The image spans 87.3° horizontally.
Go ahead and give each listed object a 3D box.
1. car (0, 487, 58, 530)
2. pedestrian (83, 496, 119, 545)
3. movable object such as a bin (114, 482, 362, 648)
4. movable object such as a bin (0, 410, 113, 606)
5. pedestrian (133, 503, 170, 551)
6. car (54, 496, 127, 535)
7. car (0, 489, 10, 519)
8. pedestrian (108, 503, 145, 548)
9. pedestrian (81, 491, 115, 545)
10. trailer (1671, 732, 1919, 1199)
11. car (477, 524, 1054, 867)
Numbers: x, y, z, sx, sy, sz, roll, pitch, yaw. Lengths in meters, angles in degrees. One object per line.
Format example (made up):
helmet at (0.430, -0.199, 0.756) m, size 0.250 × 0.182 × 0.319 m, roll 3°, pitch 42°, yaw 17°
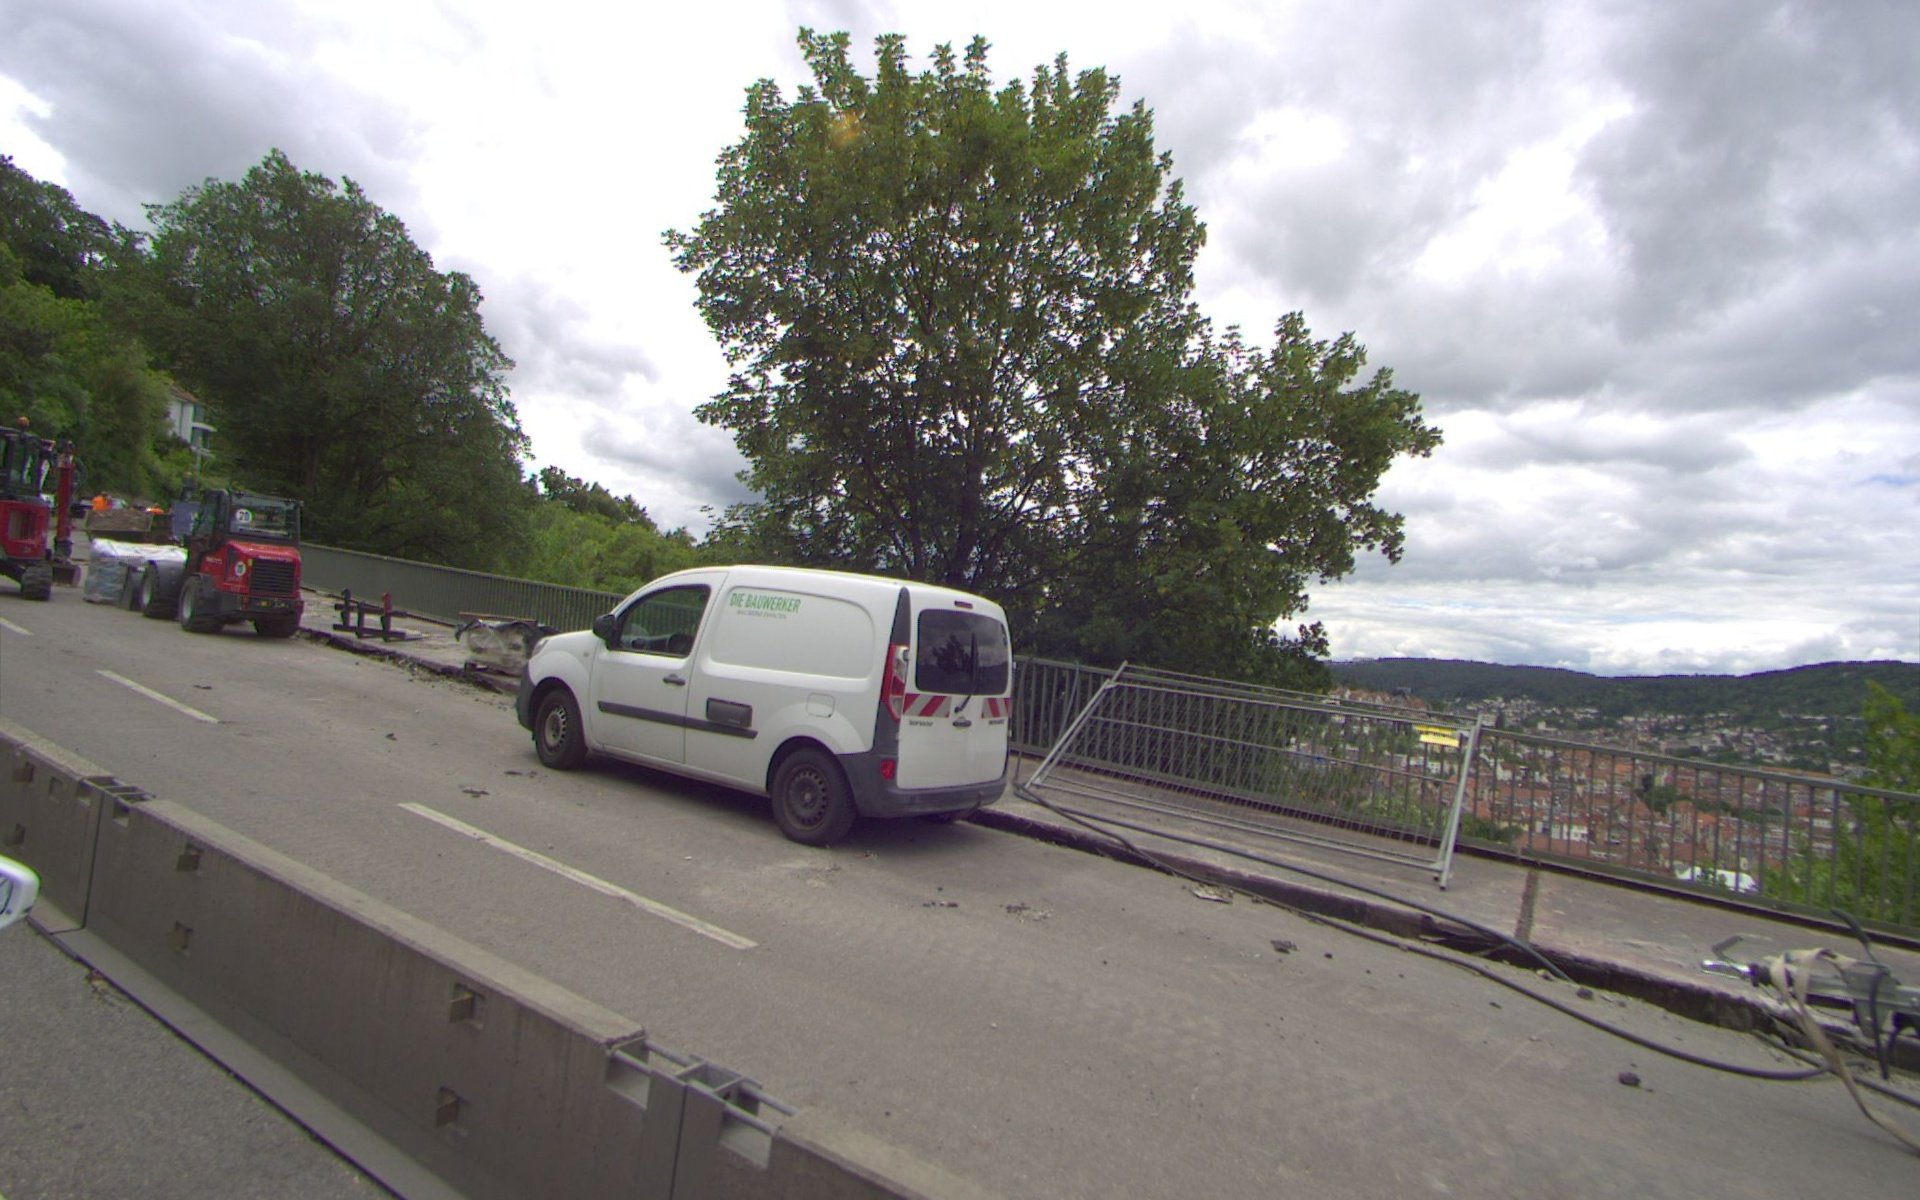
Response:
car at (-41.990, -4.087, 44.585) m, size 1.793 × 1.683 × 3.975 m, roll 7°, pitch 0°, yaw -25°
pedestrian at (-33.125, -3.058, 38.824) m, size 0.872 × 1.752 × 0.869 m, roll 7°, pitch 0°, yaw -39°
movable object such as a bin at (-10.856, -0.567, 15.027) m, size 4.101 × 1.966 × 1.702 m, roll 7°, pitch -1°, yaw 37°
movable object such as a bin at (-15.539, -1.562, 16.326) m, size 2.206 × 2.694 × 4.883 m, roll 8°, pitch -1°, yaw -44°
pedestrian at (-31.011, -2.773, 38.580) m, size 0.775 × 1.708 × 0.781 m, roll 7°, pitch 0°, yaw -23°
car at (-45.843, -4.408, 53.136) m, size 1.793 × 1.683 × 3.975 m, roll 7°, pitch 0°, yaw -25°
car at (-48.052, -4.830, 48.637) m, size 1.752 × 1.452 × 4.281 m, roll 8°, pitch -1°, yaw -26°
pedestrian at (-31.982, -2.847, 38.619) m, size 0.774 × 1.628 × 0.663 m, roll 7°, pitch 0°, yaw -23°
pedestrian at (-32.560, -3.093, 37.994) m, size 0.813 × 1.930 × 0.690 m, roll 7°, pitch 1°, yaw 39°
trailer at (4.623, 1.485, 3.300) m, size 3.577 × 1.492 × 1.290 m, roll 7°, pitch -1°, yaw 35°
car at (-1.635, 0.569, 7.905) m, size 4.199 × 1.801 × 1.835 m, roll 7°, pitch -1°, yaw 33°
